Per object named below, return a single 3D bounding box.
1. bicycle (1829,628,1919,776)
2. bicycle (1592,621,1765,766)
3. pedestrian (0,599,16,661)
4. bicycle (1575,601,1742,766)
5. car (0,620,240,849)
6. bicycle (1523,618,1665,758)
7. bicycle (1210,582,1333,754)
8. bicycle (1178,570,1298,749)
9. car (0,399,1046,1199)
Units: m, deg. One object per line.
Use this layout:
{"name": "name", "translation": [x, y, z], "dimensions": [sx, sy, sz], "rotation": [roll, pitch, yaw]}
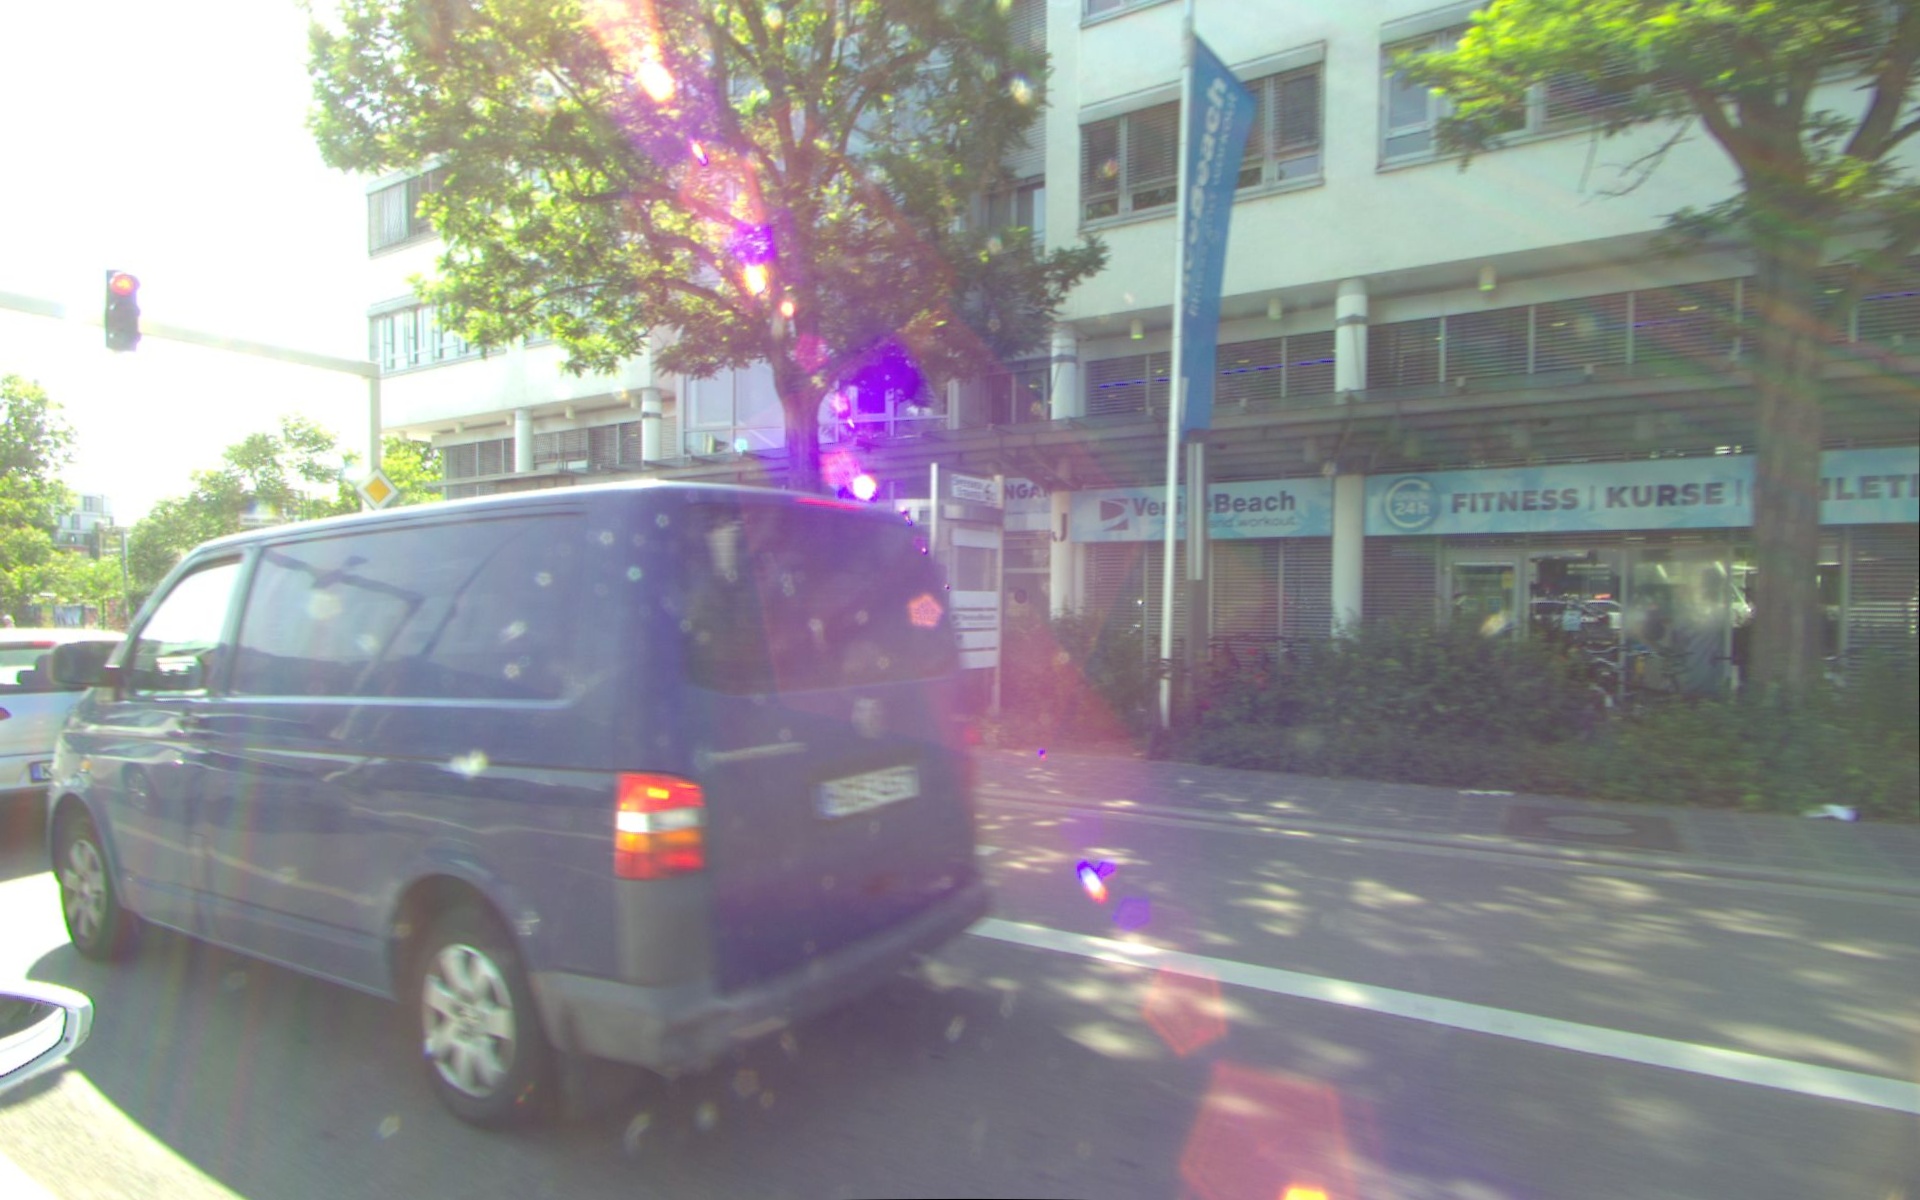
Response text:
{"name": "bicycle", "translation": [9.309, 0.976, 9.672], "dimensions": [0.497, 1.347, 1.883], "rotation": [0, 1, 12]}
{"name": "bicycle", "translation": [7.240, 0.898, 10.081], "dimensions": [1.853, 1.347, 0.505], "rotation": [0, 0, -22]}
{"name": "pedestrian", "translation": [-32.012, 0.978, 33.046], "dimensions": [1.023, 2.040, 1.025], "rotation": [0, 0, 32]}
{"name": "bicycle", "translation": [6.163, 0.690, 8.816], "dimensions": [1.665, 1.347, 0.504], "rotation": [0, 0, -28]}
{"name": "car", "translation": [-7.612, 0.907, 7.832], "dimensions": [3.941, 1.448, 1.804], "rotation": [-1, 0, 31]}
{"name": "bicycle", "translation": [6.681, 0.875, 10.518], "dimensions": [1.858, 1.347, 0.503], "rotation": [0, 0, -32]}
{"name": "bicycle", "translation": [3.324, 0.691, 10.650], "dimensions": [1.375, 1.745, 0.407], "rotation": [-1, 1, -29]}
{"name": "bicycle", "translation": [3.057, 0.621, 10.969], "dimensions": [1.375, 1.870, 0.407], "rotation": [-1, 1, -29]}
{"name": "car", "translation": [-2.214, 0.554, 4.521], "dimensions": [4.821, 1.973, 1.989], "rotation": [-1, 0, 32]}
